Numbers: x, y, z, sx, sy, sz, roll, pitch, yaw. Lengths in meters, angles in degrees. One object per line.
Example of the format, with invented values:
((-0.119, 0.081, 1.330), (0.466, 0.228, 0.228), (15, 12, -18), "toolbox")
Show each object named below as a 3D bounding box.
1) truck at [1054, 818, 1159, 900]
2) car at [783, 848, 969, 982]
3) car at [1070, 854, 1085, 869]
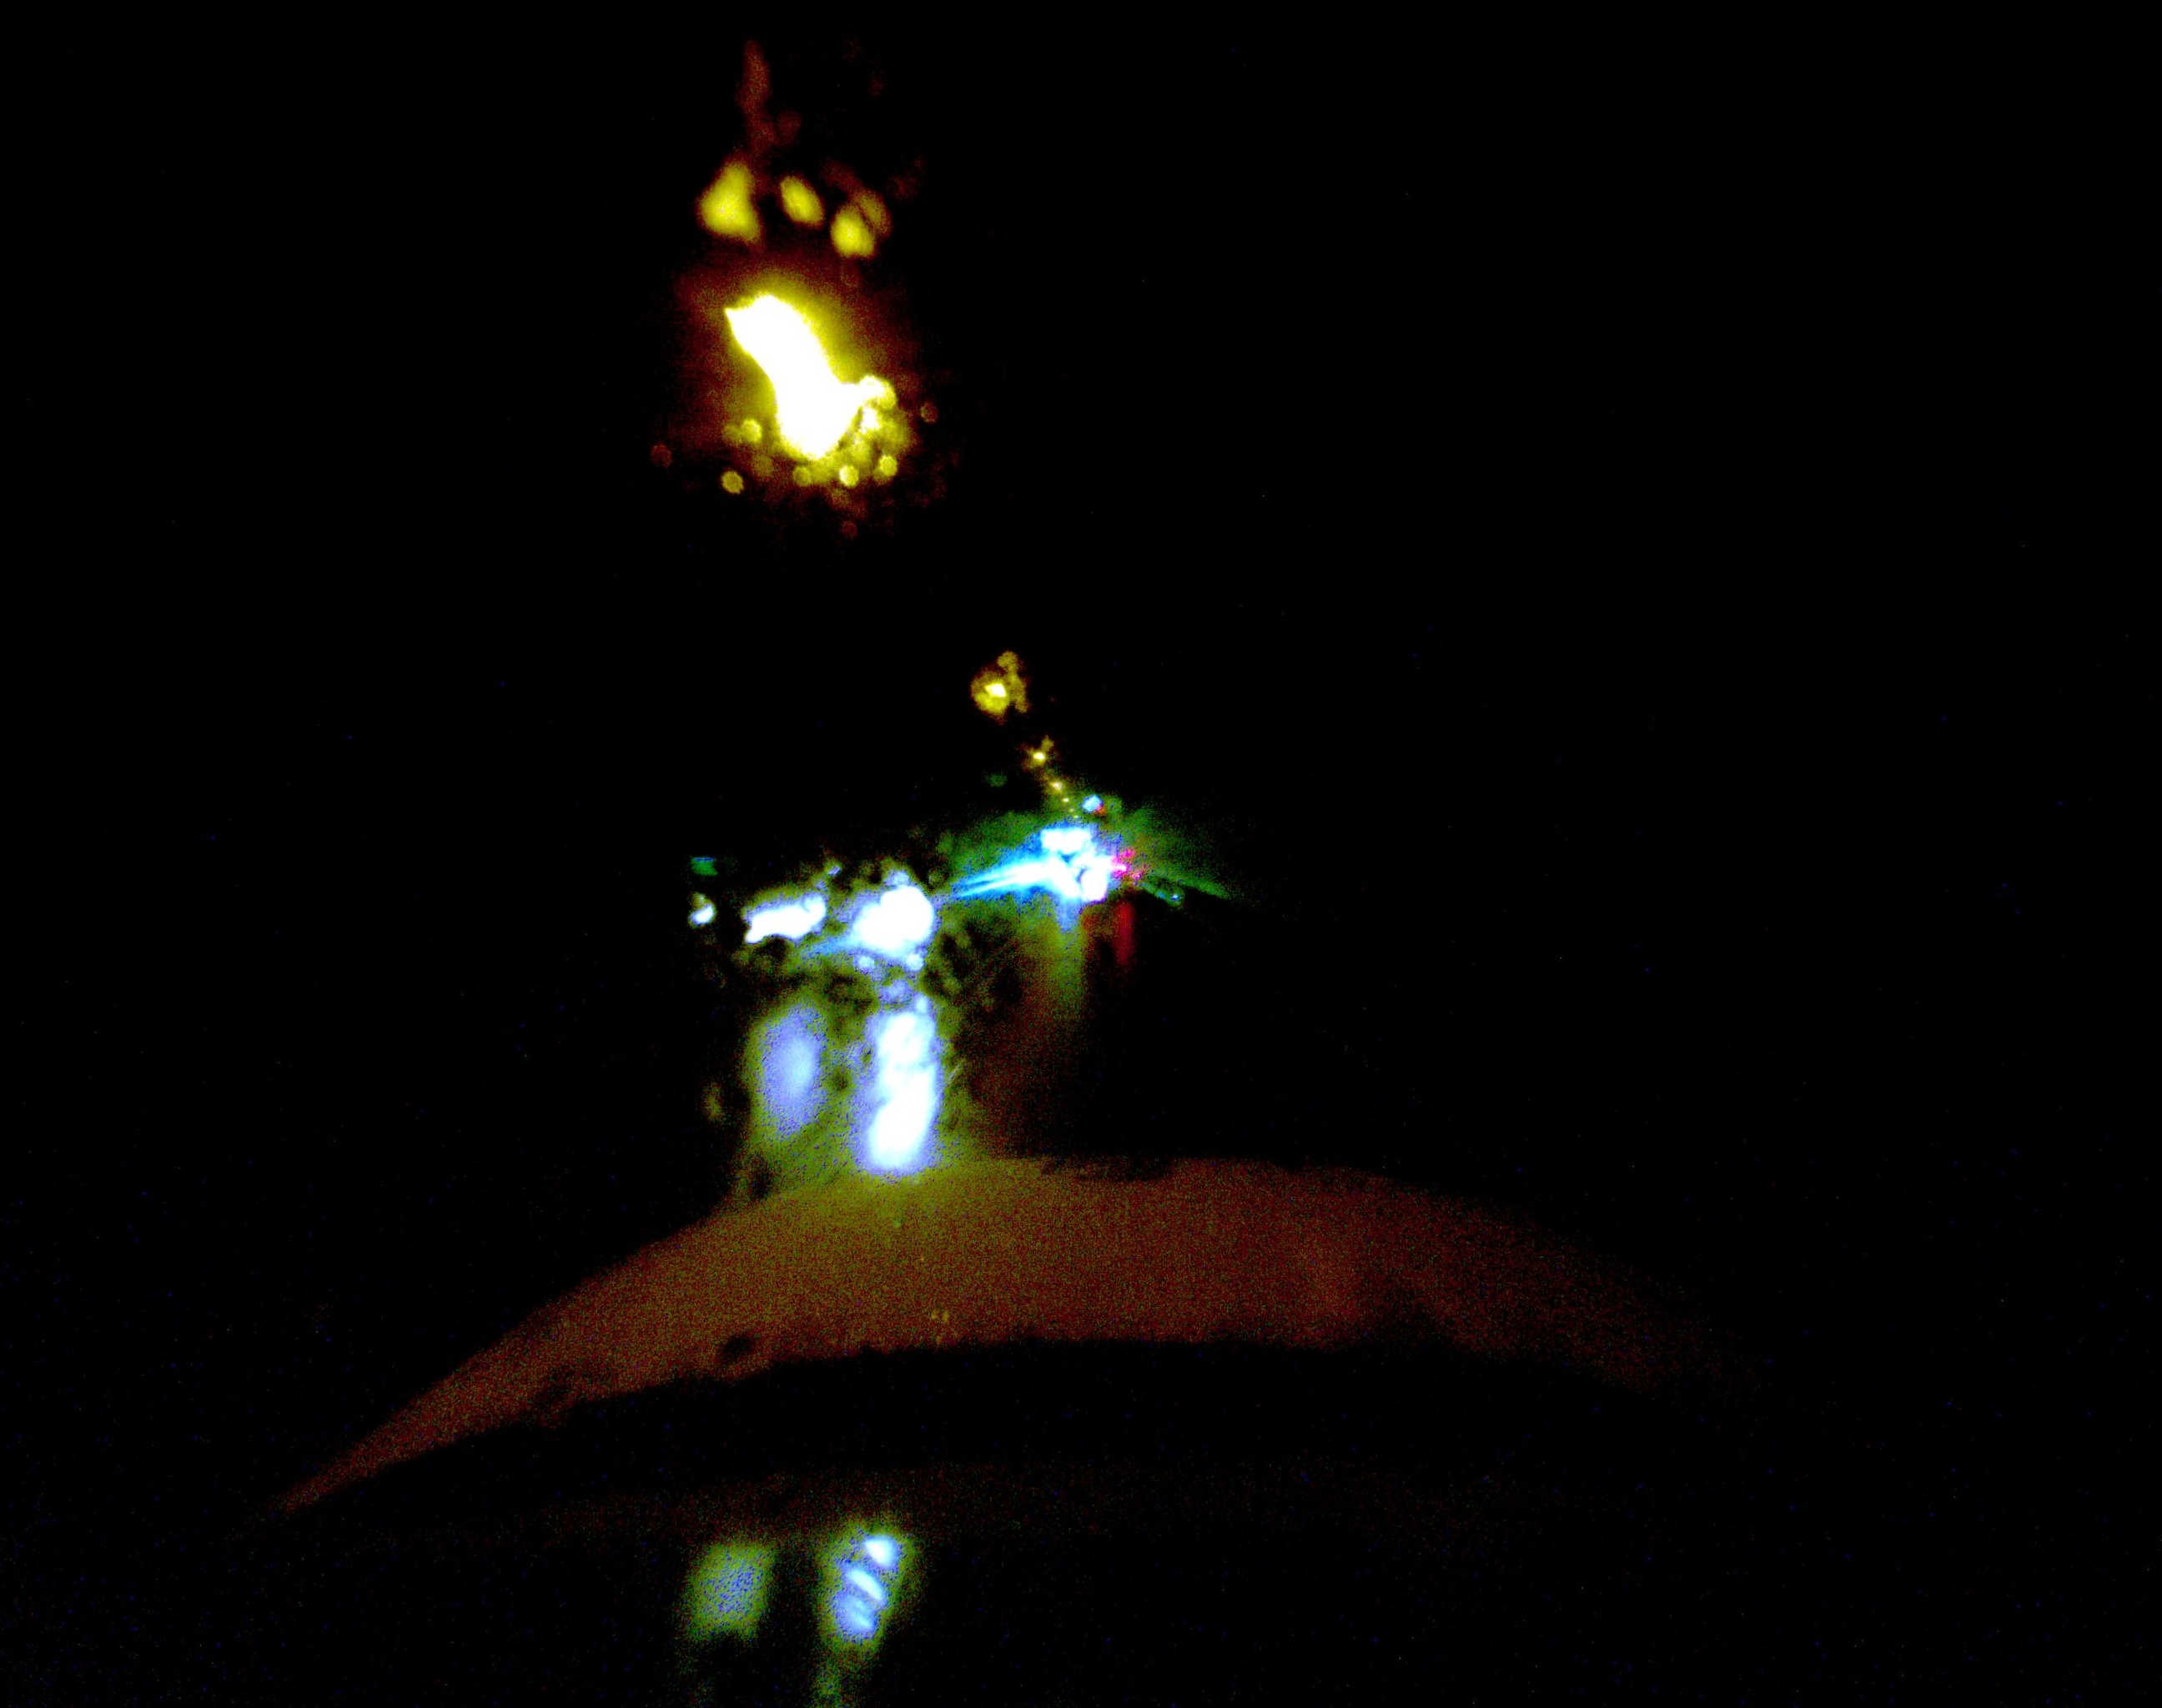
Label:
((0.996, 0.169, 32.357), (3.522, 2.693, 8.958), (-2, 0, 1), "truck")
((-2.783, 0.745, 11.967), (1.592, 1.613, 3.997), (-1, 0, 2), "car")
((-0.394, 0.806, 92.959), (1.563, 1.632, 3.731), (-2, 0, 1), "car")
